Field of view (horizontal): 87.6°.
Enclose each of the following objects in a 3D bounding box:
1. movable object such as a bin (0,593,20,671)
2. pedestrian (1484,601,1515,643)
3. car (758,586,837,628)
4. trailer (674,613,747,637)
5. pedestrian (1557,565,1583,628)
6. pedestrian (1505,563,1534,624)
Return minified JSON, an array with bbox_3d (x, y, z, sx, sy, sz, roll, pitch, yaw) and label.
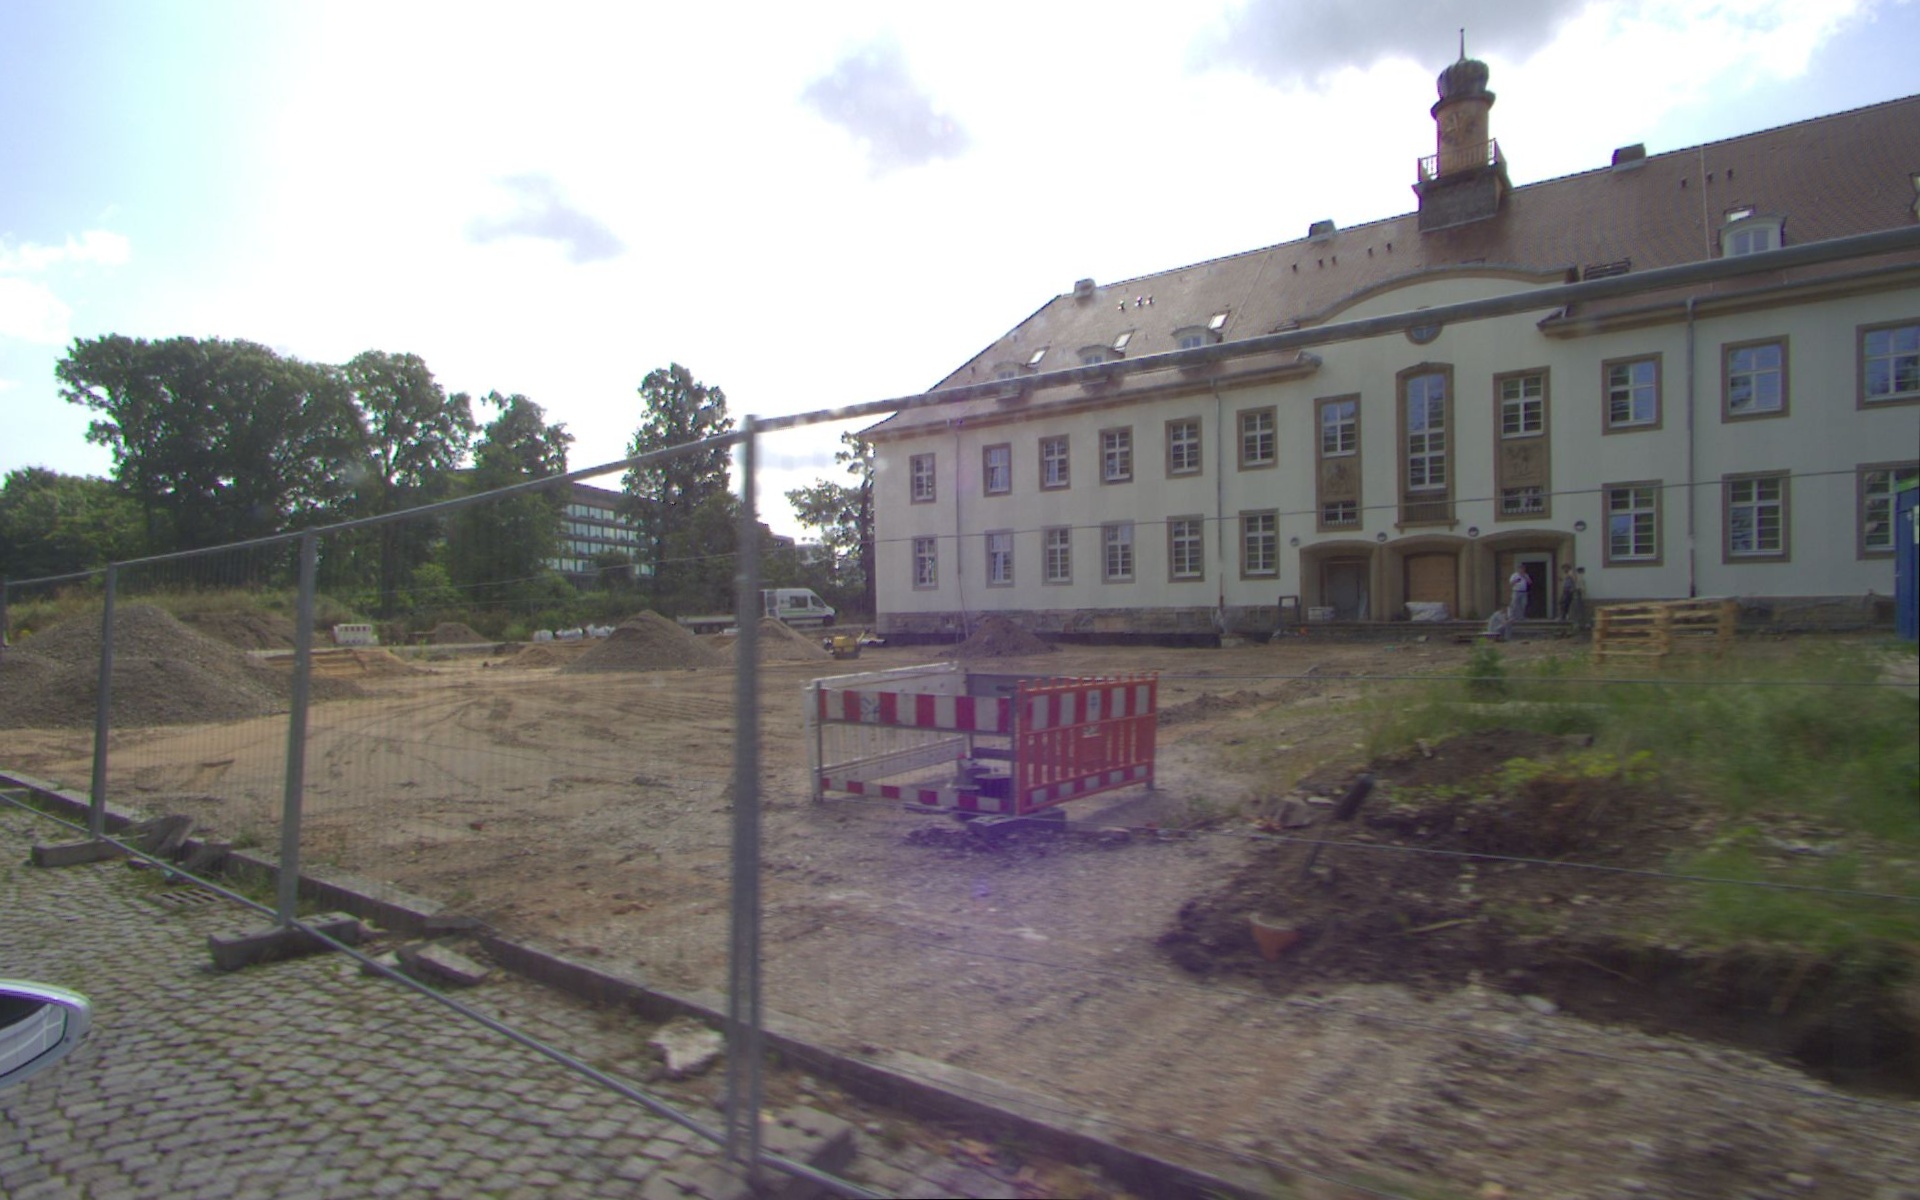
[{"bbox_3d":[-32.929,1.065,32.505,2.102,2.627,4.773,-1,0,-25],"label":"movable object such as a bin"},{"bbox_3d":[16.248,0.657,30.148,0.713,1.226,0.665,-1,0,36],"label":"pedestrian"},{"bbox_3d":[-10.650,0.466,65.710,4.767,2.677,2.037,-1,0,-42],"label":"car"},{"bbox_3d":[-15.447,1.547,62.040,3.942,1.372,2.078,-1,-1,-30],"label":"trailer"},{"bbox_3d":[18.289,-0.089,30.004,0.638,1.859,0.873,-1,0,32],"label":"pedestrian"},{"bbox_3d":[17.373,-0.190,31.064,0.724,1.859,0.643,-1,0,34],"label":"pedestrian"}]
